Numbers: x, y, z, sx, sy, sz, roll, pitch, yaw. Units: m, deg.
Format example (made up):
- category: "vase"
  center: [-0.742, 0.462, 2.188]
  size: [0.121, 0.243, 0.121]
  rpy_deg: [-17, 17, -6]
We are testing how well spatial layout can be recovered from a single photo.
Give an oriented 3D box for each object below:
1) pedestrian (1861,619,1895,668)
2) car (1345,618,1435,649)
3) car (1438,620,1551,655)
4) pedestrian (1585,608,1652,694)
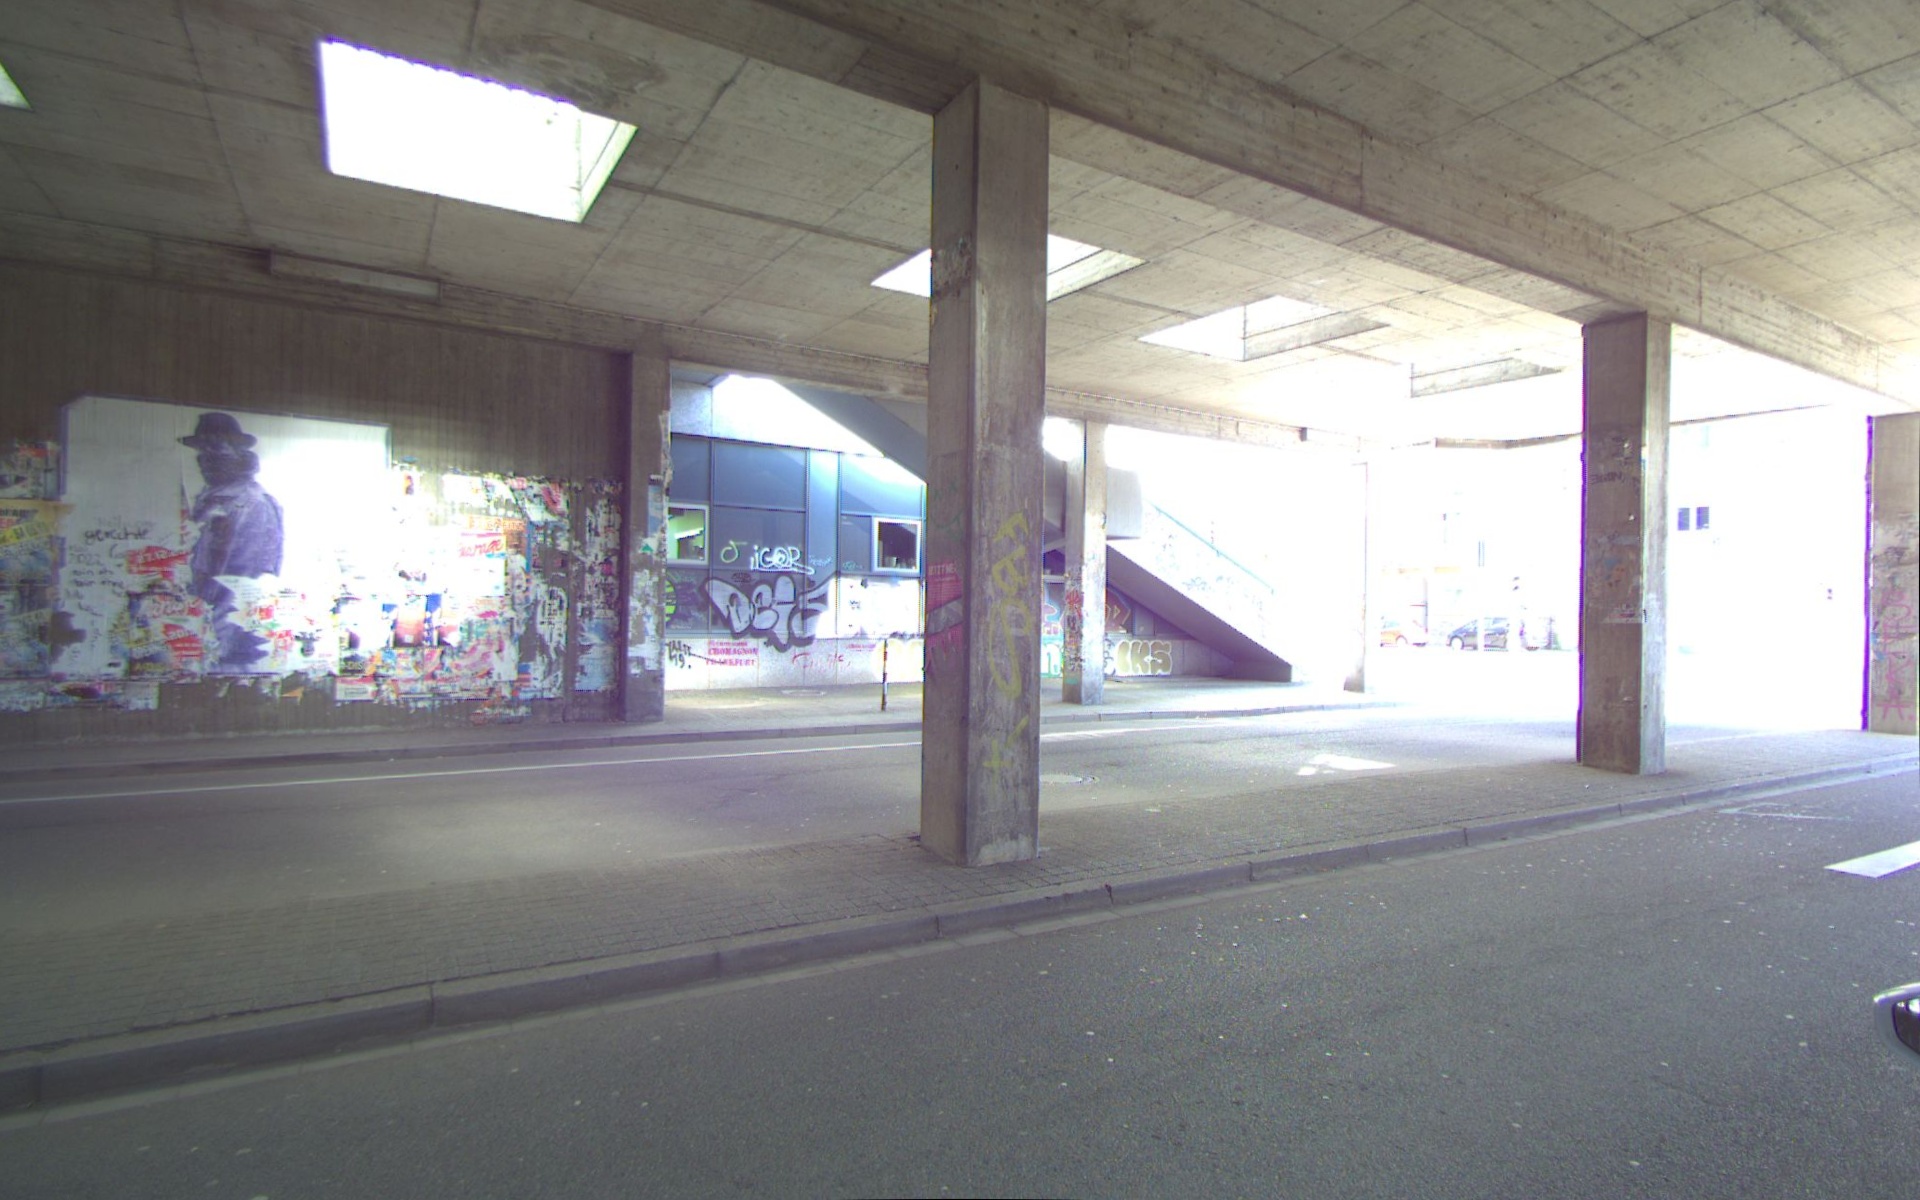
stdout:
- category: "pedestrian"
  center: [32.200, 1.525, 35.250]
  size: [0.732, 1.659, 0.669]
  rpy_deg: [2, 0, -30]
- category: "car"
  center: [22.476, 1.735, 52.647]
  size: [1.905, 1.428, 3.965]
  rpy_deg: [2, 0, -32]
- category: "car"
  center: [25.368, 1.766, 47.793]
  size: [1.905, 1.428, 4.382]
  rpy_deg: [2, 0, -32]
- category: "pedestrian"
  center: [14.292, 1.094, 21.820]
  size: [0.784, 1.785, 0.925]
  rpy_deg: [2, 0, -28]
